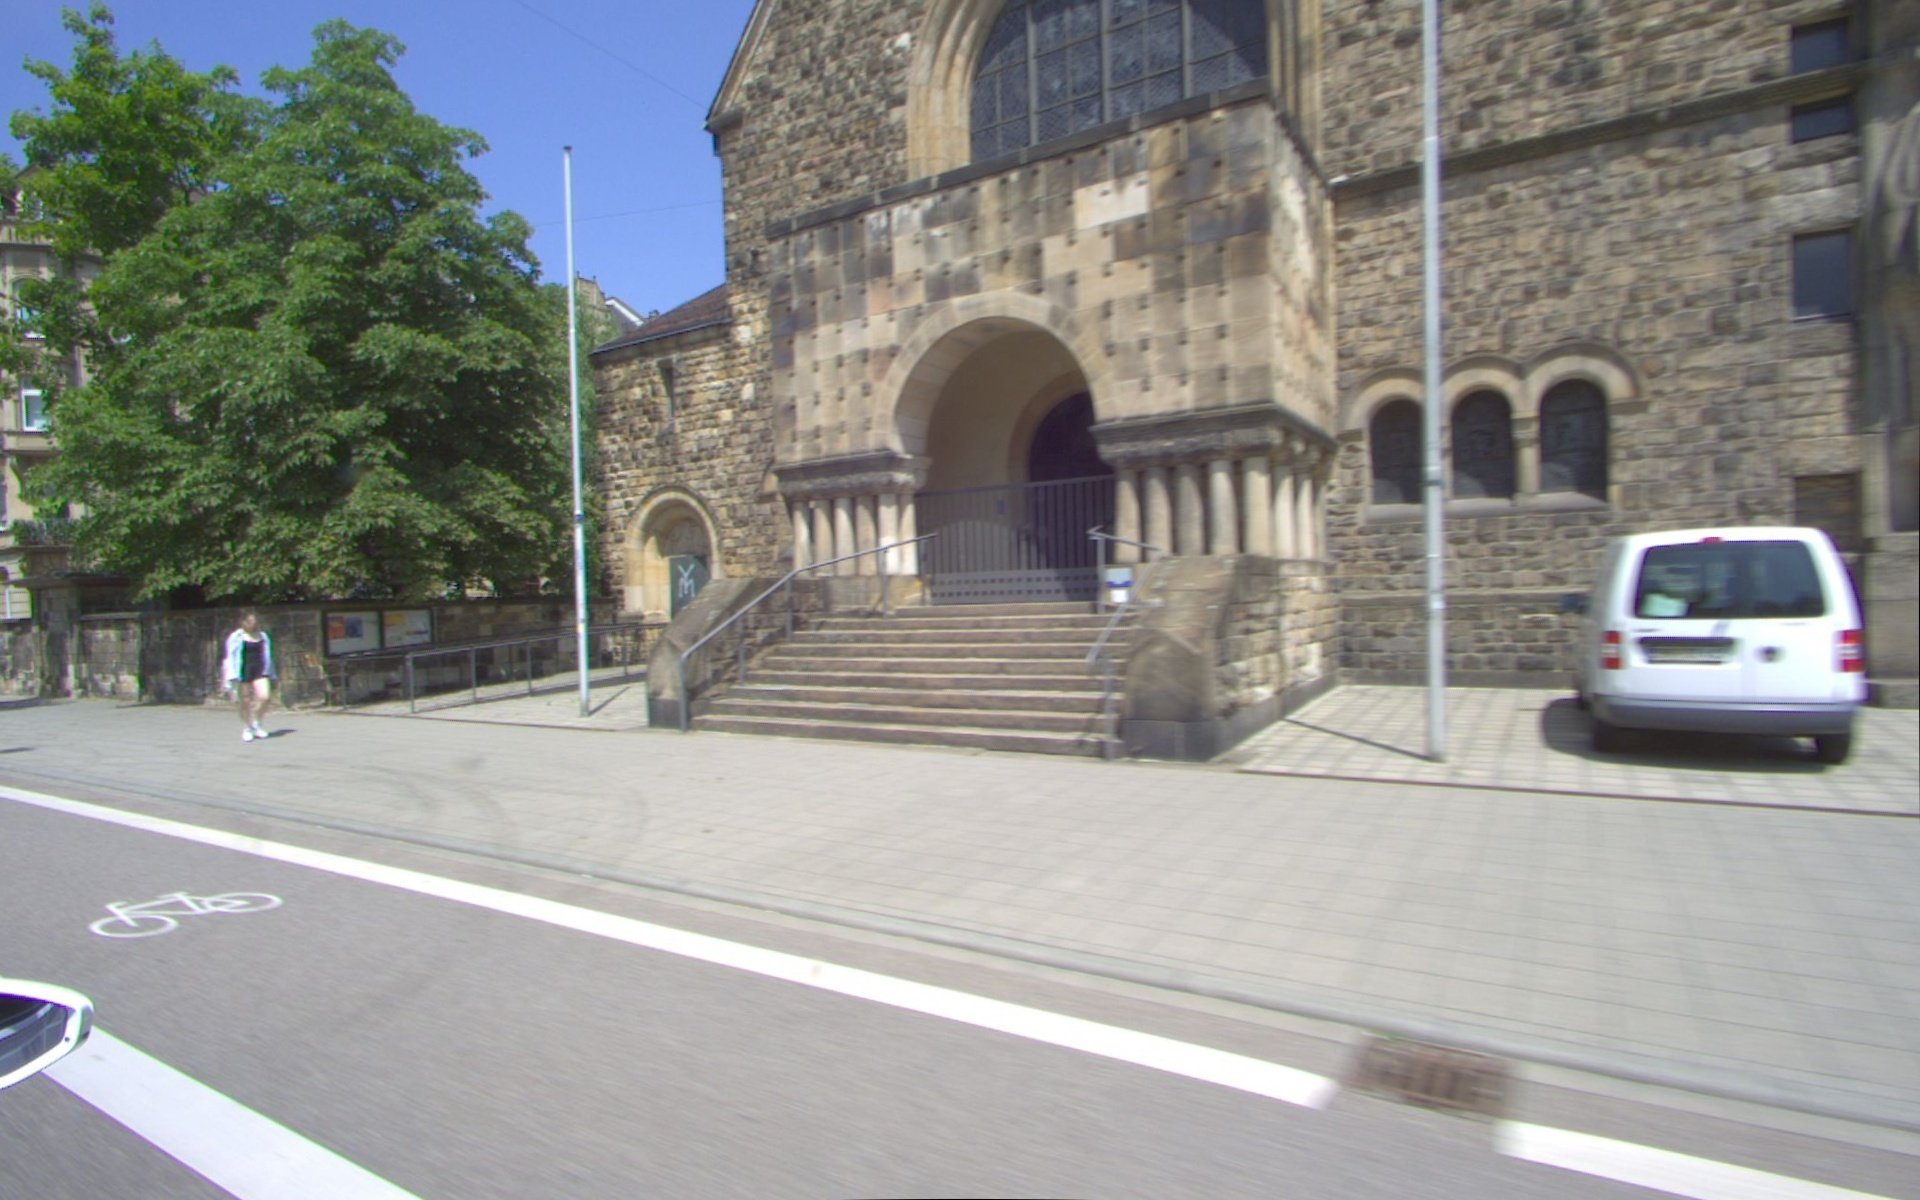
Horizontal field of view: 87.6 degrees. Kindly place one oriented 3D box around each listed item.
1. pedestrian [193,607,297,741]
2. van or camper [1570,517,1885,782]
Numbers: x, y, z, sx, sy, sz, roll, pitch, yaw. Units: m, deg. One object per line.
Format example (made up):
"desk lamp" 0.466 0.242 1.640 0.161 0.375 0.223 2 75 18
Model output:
"pedestrian" -9.364 0.935 13.121 0.953 1.672 0.792 -1 1 34
"van or camper" 6.660 0.281 9.133 1.776 1.850 3.978 -1 2 30
